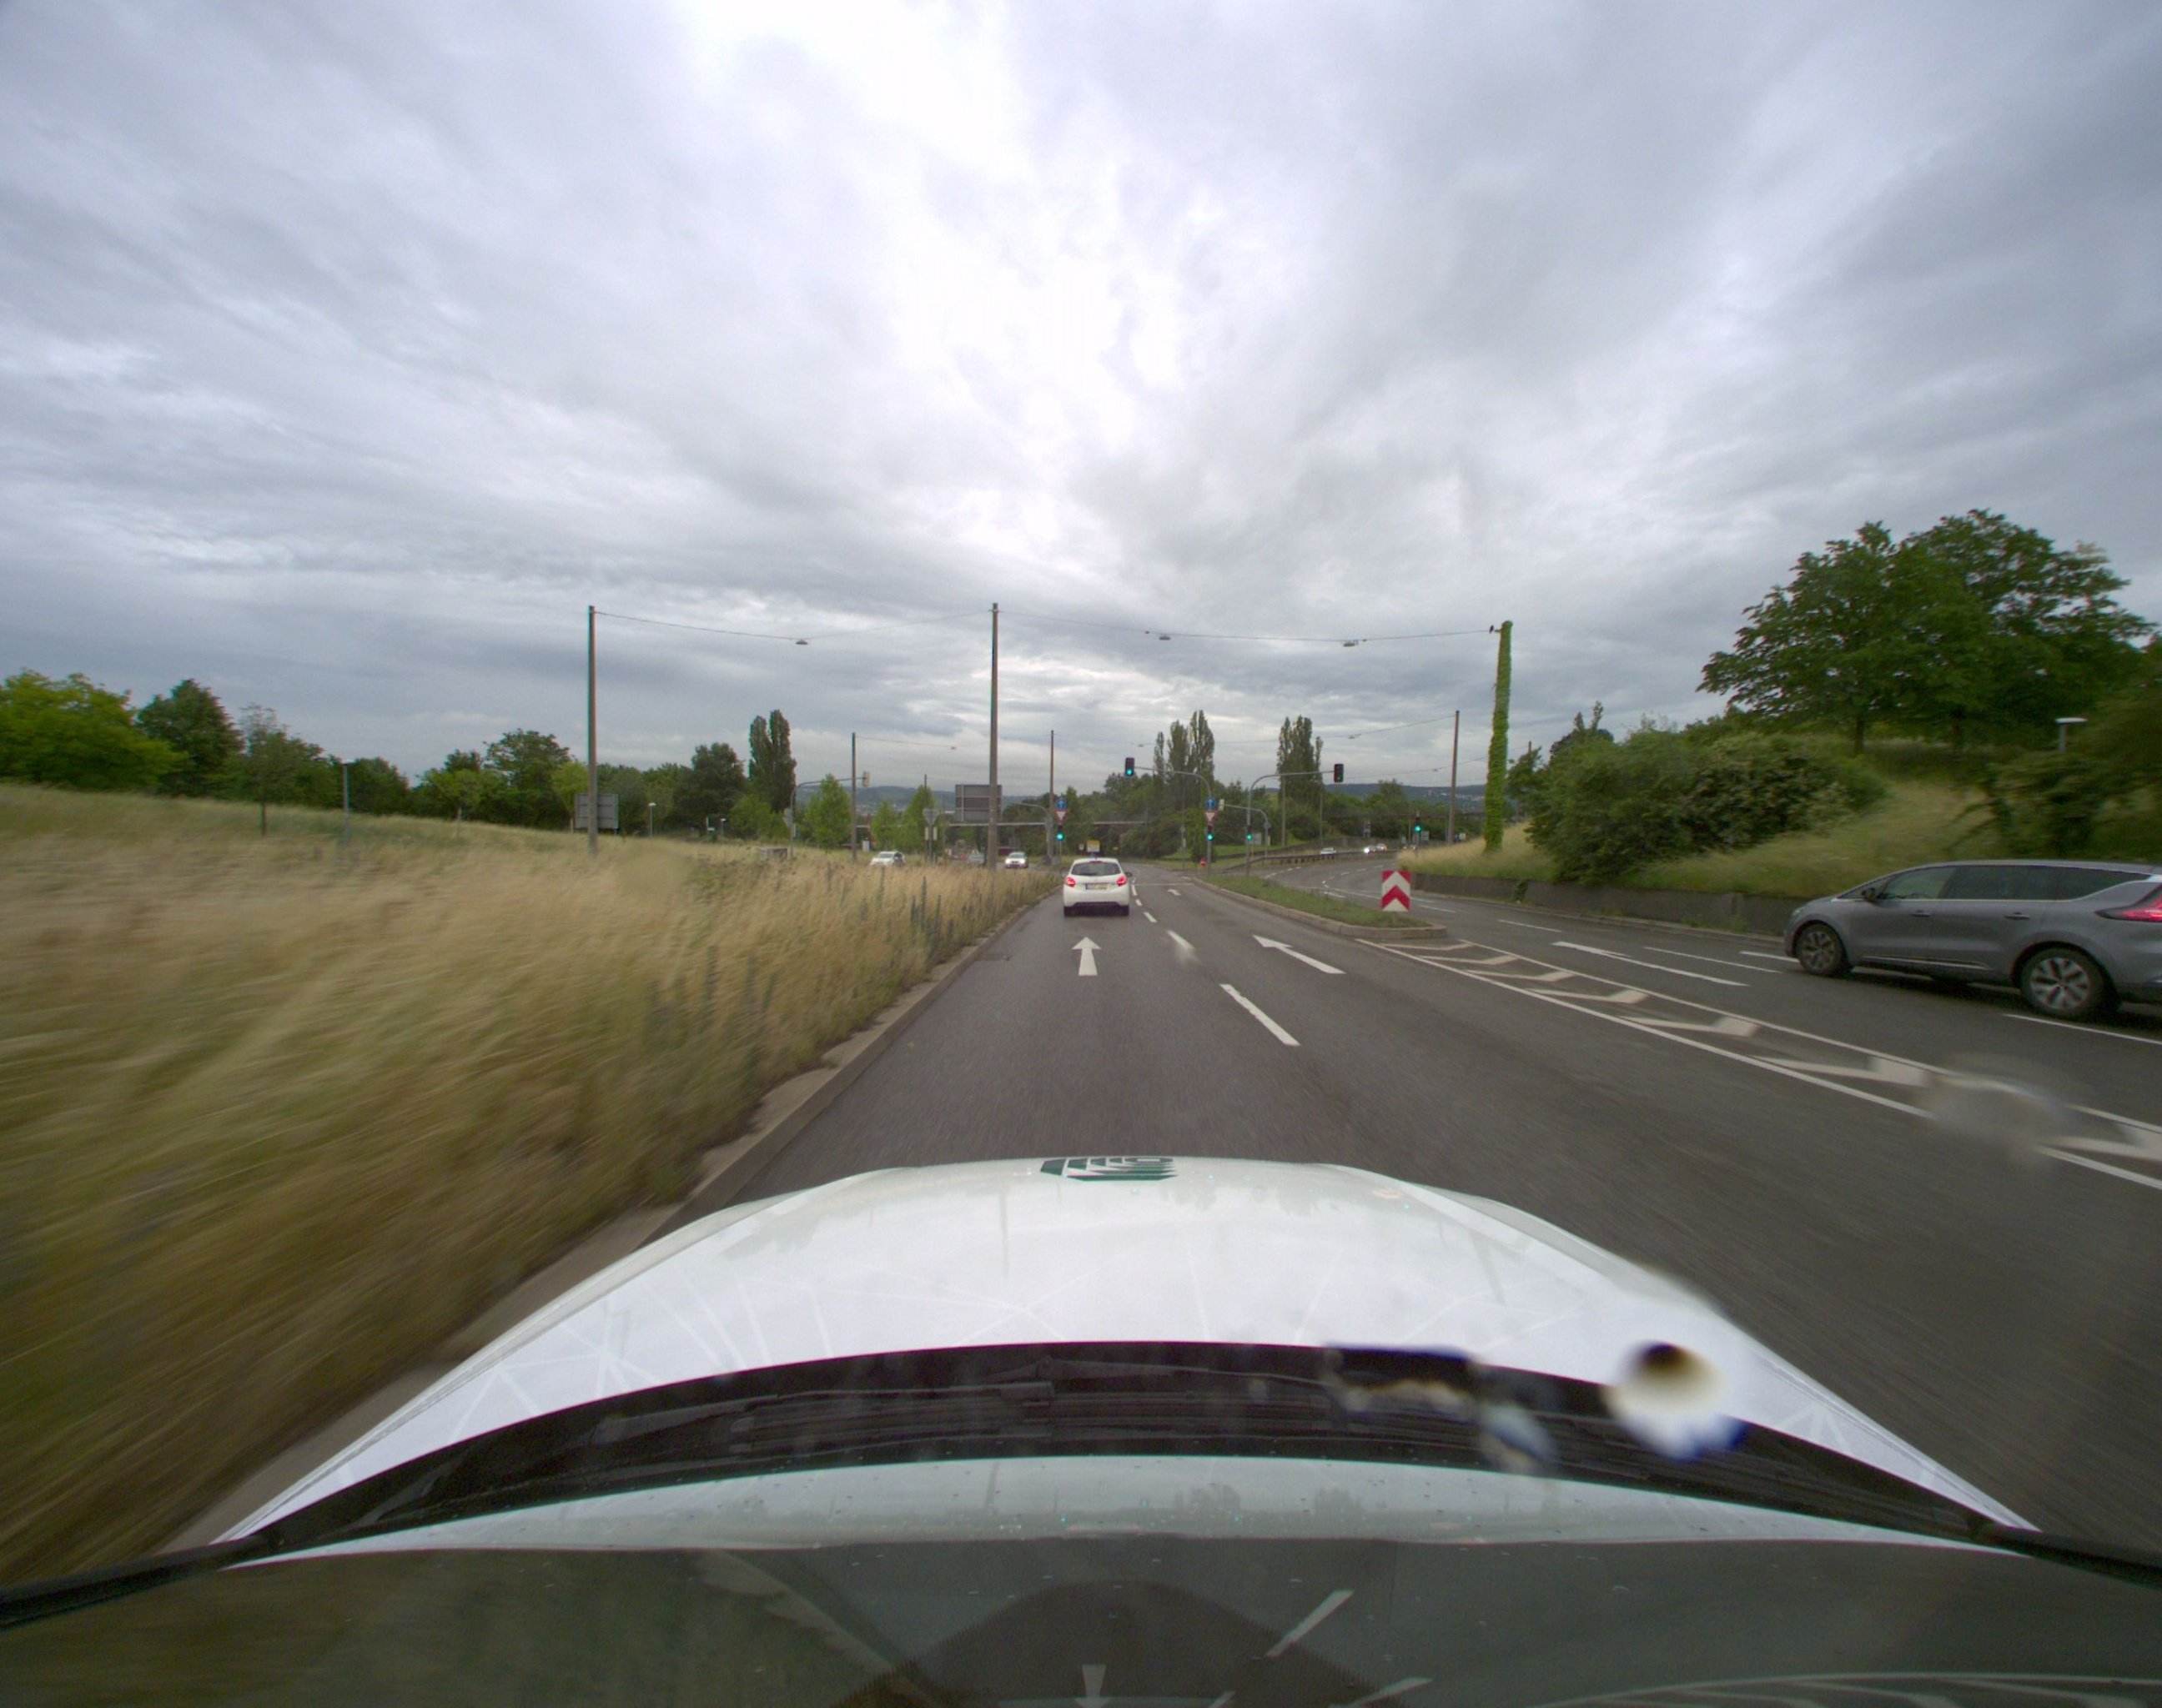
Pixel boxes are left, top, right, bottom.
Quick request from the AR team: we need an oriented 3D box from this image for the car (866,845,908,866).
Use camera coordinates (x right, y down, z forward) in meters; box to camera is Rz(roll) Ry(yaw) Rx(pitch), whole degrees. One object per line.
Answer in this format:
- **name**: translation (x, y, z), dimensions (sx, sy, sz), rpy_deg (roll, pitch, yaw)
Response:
- **car**: translation (-15.518, 0.170, 65.437), dimensions (1.876, 1.611, 4.682), rpy_deg (1, -1, 5)

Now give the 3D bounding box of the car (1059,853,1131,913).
- **car**: translation (0.452, 0.740, 21.888), dimensions (1.701, 1.440, 3.694), rpy_deg (-1, -1, 4)

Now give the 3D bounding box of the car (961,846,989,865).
- **car**: translation (-9.250, 0.145, 71.389), dimensions (1.889, 1.537, 3.998), rpy_deg (1, -1, -1)

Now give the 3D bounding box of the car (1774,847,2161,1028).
- **car**: translation (10.871, 0.846, 9.568), dimensions (1.718, 1.649, 4.628), rpy_deg (3, -1, 3)

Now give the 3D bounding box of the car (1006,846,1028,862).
- **car**: translation (-5.787, 0.046, 73.828), dimensions (1.732, 1.373, 3.997), rpy_deg (1, -1, -1)
